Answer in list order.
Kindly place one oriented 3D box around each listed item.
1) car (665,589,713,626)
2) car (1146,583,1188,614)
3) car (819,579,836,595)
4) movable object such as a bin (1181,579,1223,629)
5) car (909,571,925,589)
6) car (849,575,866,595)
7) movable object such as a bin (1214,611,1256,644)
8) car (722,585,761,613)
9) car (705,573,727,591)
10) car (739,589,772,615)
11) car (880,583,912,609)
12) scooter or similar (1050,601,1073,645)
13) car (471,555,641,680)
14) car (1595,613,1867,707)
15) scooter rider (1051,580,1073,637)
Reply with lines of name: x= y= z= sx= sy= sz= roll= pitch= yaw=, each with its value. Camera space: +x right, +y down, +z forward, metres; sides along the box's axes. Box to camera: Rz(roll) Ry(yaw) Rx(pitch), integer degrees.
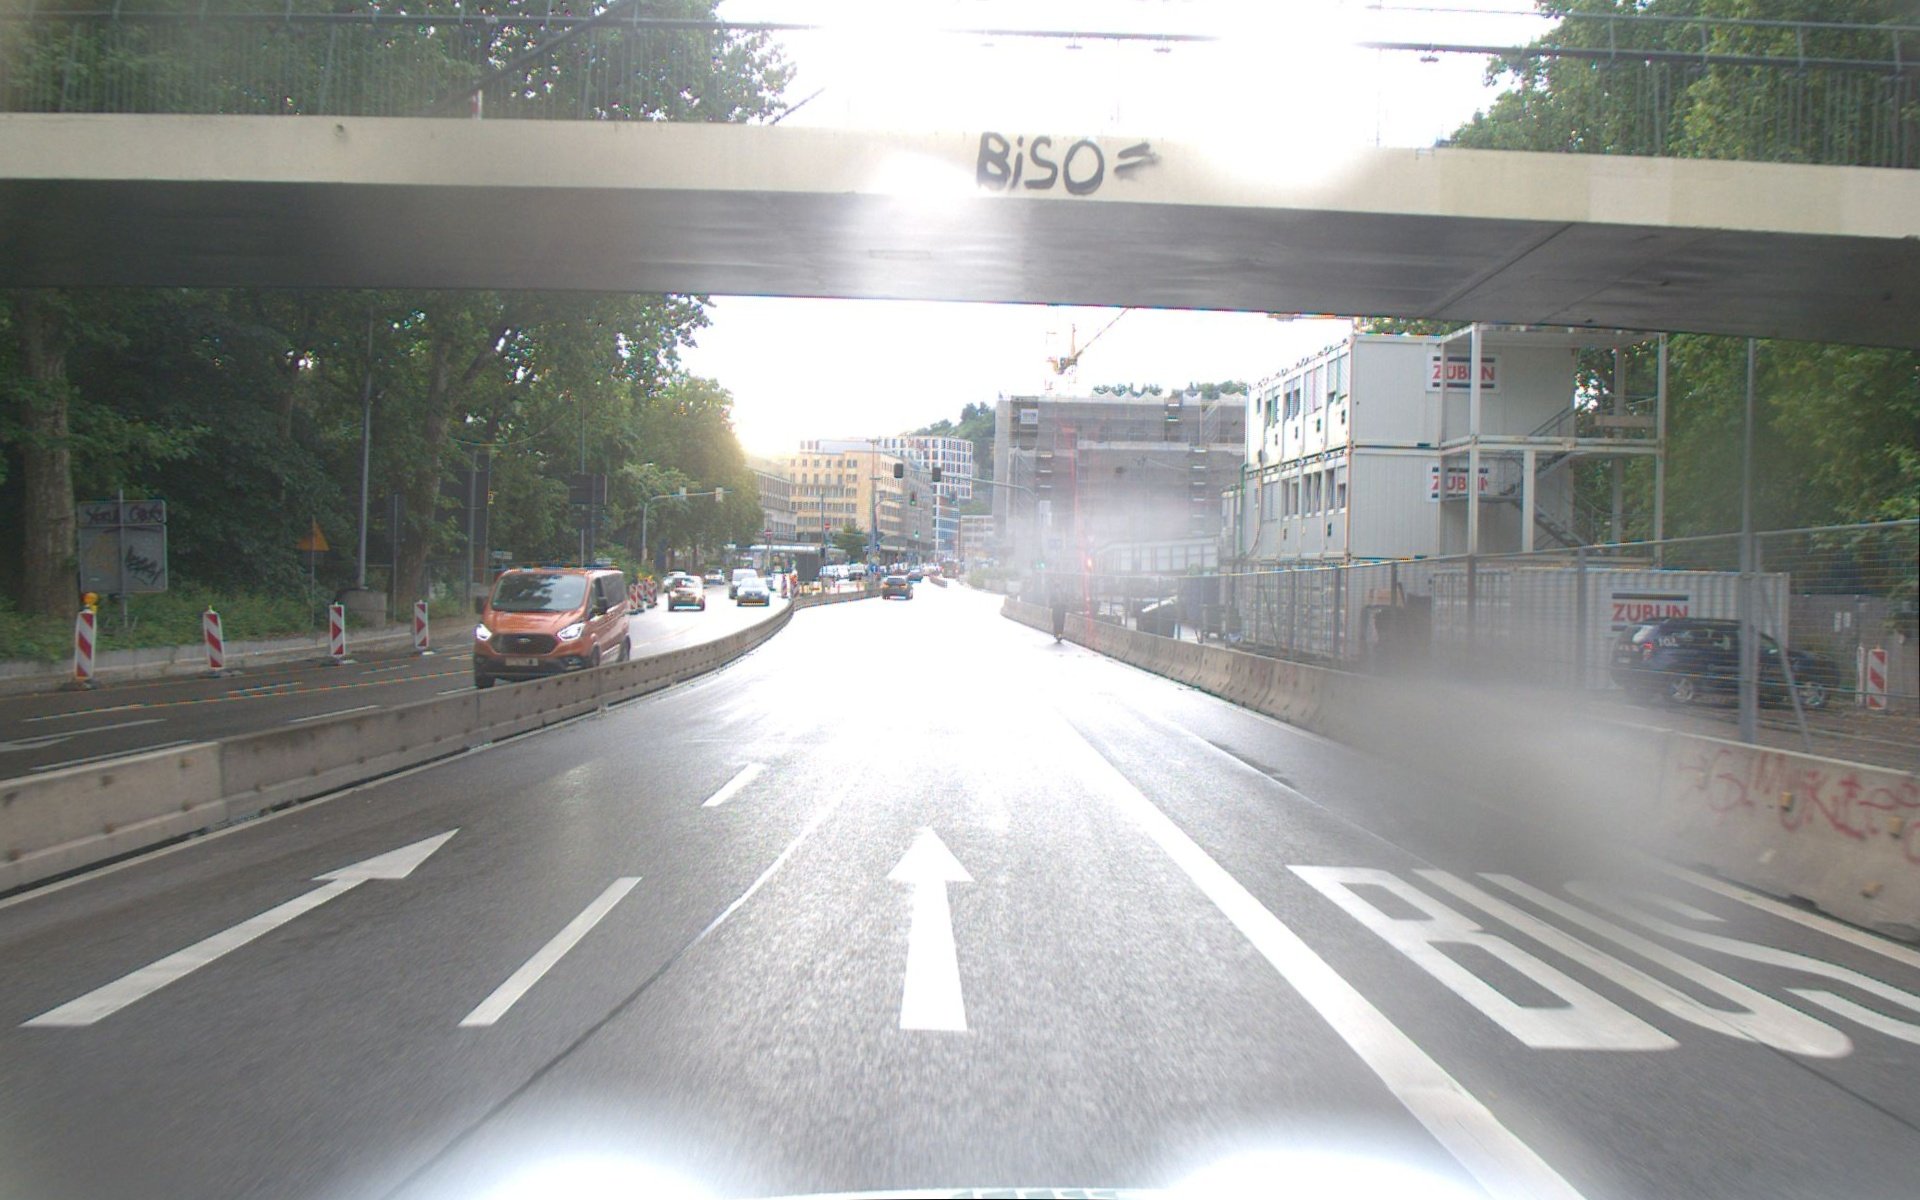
car: x=-13.065 y=0.333 z=79.860 sx=1.991 sy=1.682 sz=4.314 roll=0 pitch=1 yaw=-6
car: x=13.436 y=-0.136 z=107.734 sx=1.809 sy=1.838 sz=5.084 roll=2 pitch=2 yaw=-3
car: x=-14.833 y=-1.465 z=185.557 sx=1.865 sy=1.555 sz=4.172 roll=-1 pitch=-2 yaw=-5
movable object such as a bin: x=11.133 y=0.176 z=76.179 sx=1.438 sy=2.241 sz=1.255 roll=1 pitch=2 yaw=-26
car: x=-5.318 y=-2.443 z=204.897 sx=1.953 sy=2.049 sz=3.999 roll=-1 pitch=-2 yaw=-1
car: x=-11.515 y=-1.646 z=186.029 sx=1.865 sy=2.119 sz=4.172 roll=-1 pitch=-2 yaw=-5
movable object such as a bin: x=9.822 y=1.003 z=59.180 sx=1.222 sy=1.143 sz=1.238 roll=-1 pitch=-2 yaw=-3
car: x=-13.850 y=-0.052 z=105.076 sx=1.990 sy=1.682 sz=4.908 roll=-1 pitch=0 yaw=-3
car: x=-23.623 y=-1.726 z=160.373 sx=1.955 sy=1.568 sz=4.438 roll=-1 pitch=-2 yaw=-7
car: x=-10.917 y=0.108 z=88.230 sx=1.679 sy=1.362 sz=4.055 roll=-1 pitch=0 yaw=-7
car: x=-4.185 y=-0.234 z=107.184 sx=1.865 sy=1.555 sz=4.172 roll=-1 pitch=-2 yaw=-5
scooter or similar: x=3.263 y=0.732 z=53.231 sx=0.585 sy=1.342 sz=1.667 roll=2 pitch=0 yaw=0
car: x=-6.934 y=0.357 z=28.933 sx=1.990 sy=1.970 sz=5.040 roll=-1 pitch=-2 yaw=-3
car: x=14.907 y=1.150 z=32.107 sx=4.453 sy=1.657 sz=1.786 roll=1 pitch=1 yaw=-4
scooter rider: x=3.278 y=0.265 z=53.190 sx=0.585 sy=1.817 sz=0.997 roll=2 pitch=0 yaw=0
